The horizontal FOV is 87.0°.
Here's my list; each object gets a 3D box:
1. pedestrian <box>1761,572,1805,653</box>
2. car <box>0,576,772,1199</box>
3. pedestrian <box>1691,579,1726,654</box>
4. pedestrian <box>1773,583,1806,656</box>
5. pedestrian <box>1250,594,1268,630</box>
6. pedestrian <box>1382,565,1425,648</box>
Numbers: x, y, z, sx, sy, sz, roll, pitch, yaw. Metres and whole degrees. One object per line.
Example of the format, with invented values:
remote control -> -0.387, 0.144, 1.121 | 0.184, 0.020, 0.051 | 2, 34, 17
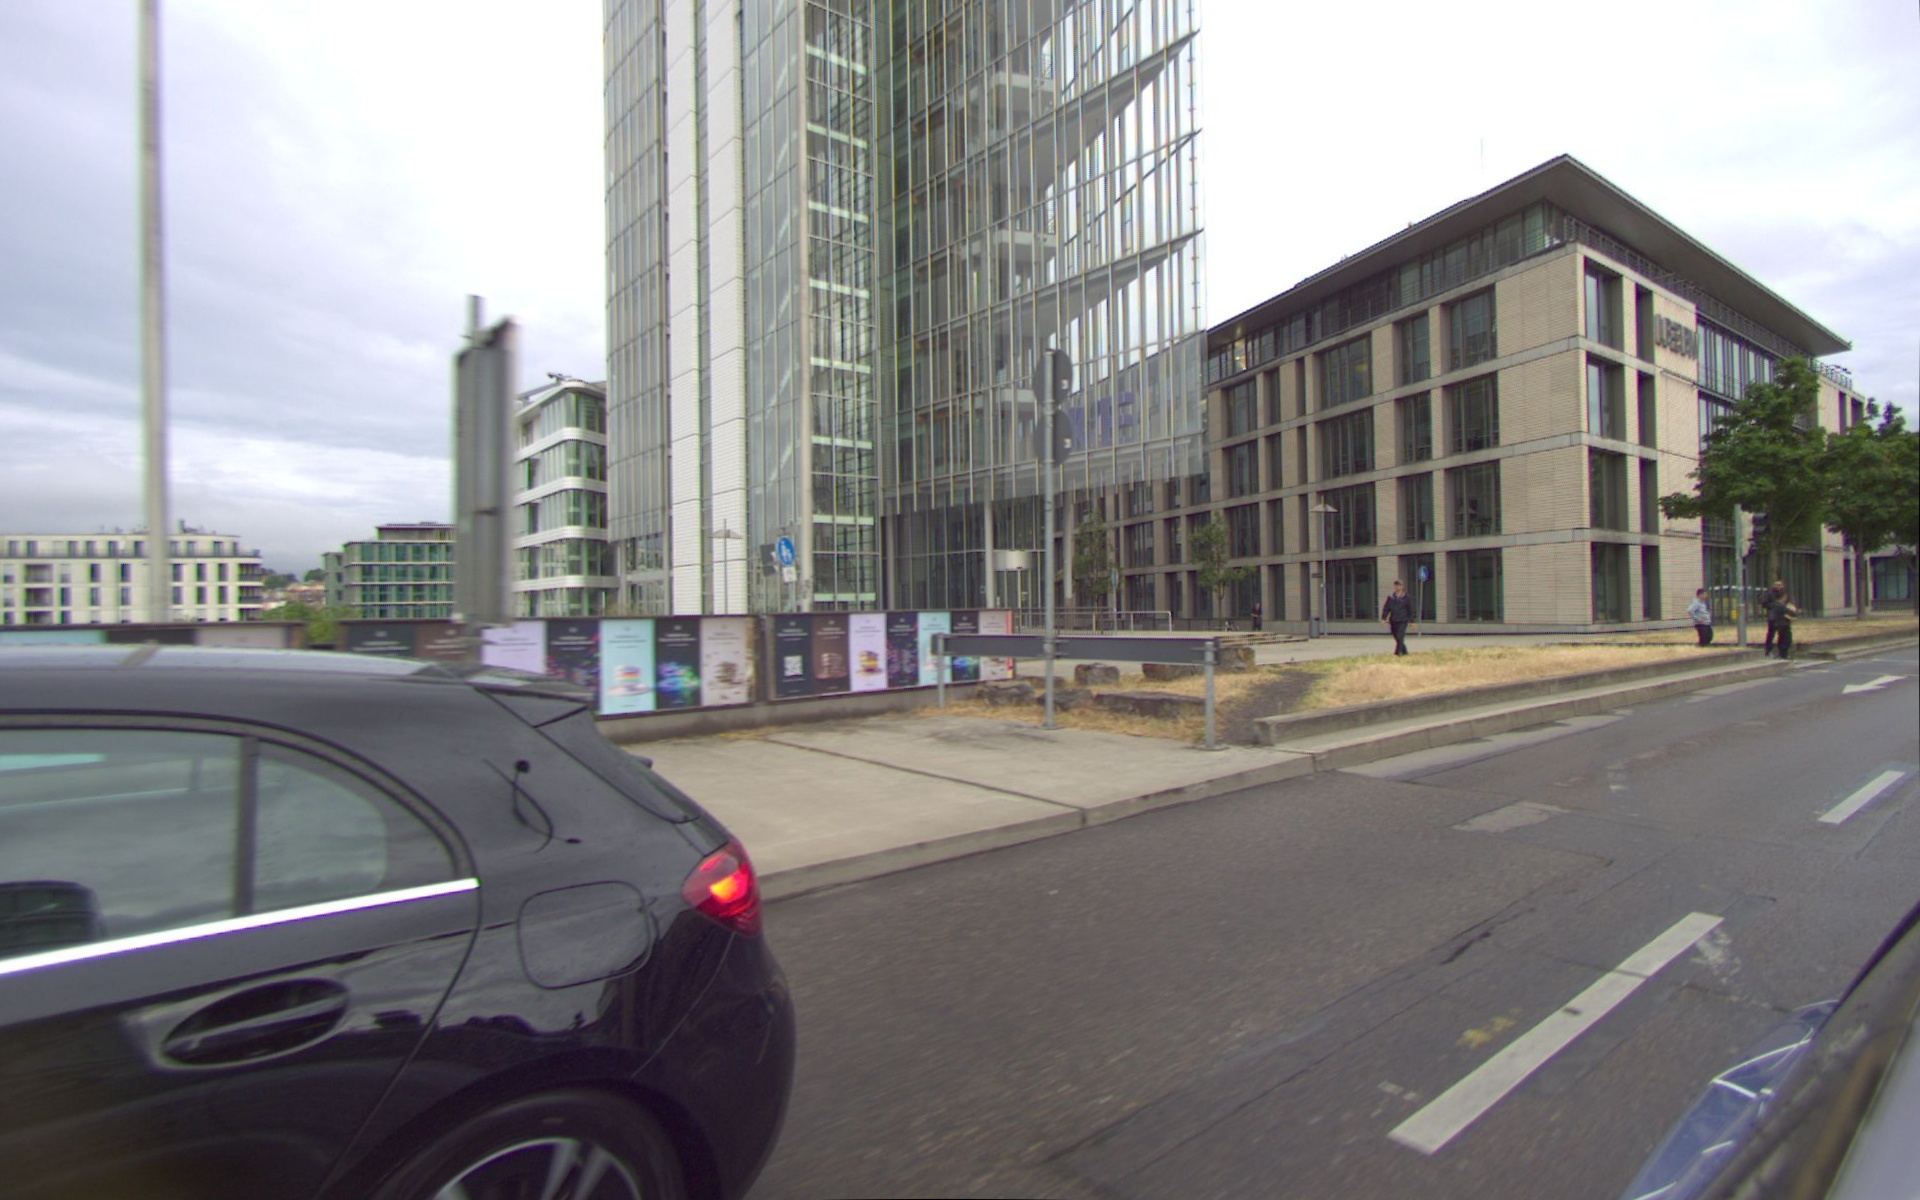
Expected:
pedestrian -> 18.691, 0.275, 22.986 | 0.725, 1.793, 0.771 | 0, 1, 42
car -> -2.468, 0.709, 1.282 | 4.084, 1.393, 1.726 | -2, 2, -41
pedestrian -> 16.649, 0.384, 22.499 | 0.459, 1.620, 0.647 | -6, -6, 40
pedestrian -> 17.993, 0.418, 21.955 | 0.540, 1.547, 0.592 | 0, 1, 40
pedestrian -> 15.111, 0.606, 51.146 | 0.621, 1.767, 0.637 | -1, 1, -18
pedestrian -> 8.872, 0.135, 20.262 | 0.650, 1.631, 0.545 | -1, -1, 11
